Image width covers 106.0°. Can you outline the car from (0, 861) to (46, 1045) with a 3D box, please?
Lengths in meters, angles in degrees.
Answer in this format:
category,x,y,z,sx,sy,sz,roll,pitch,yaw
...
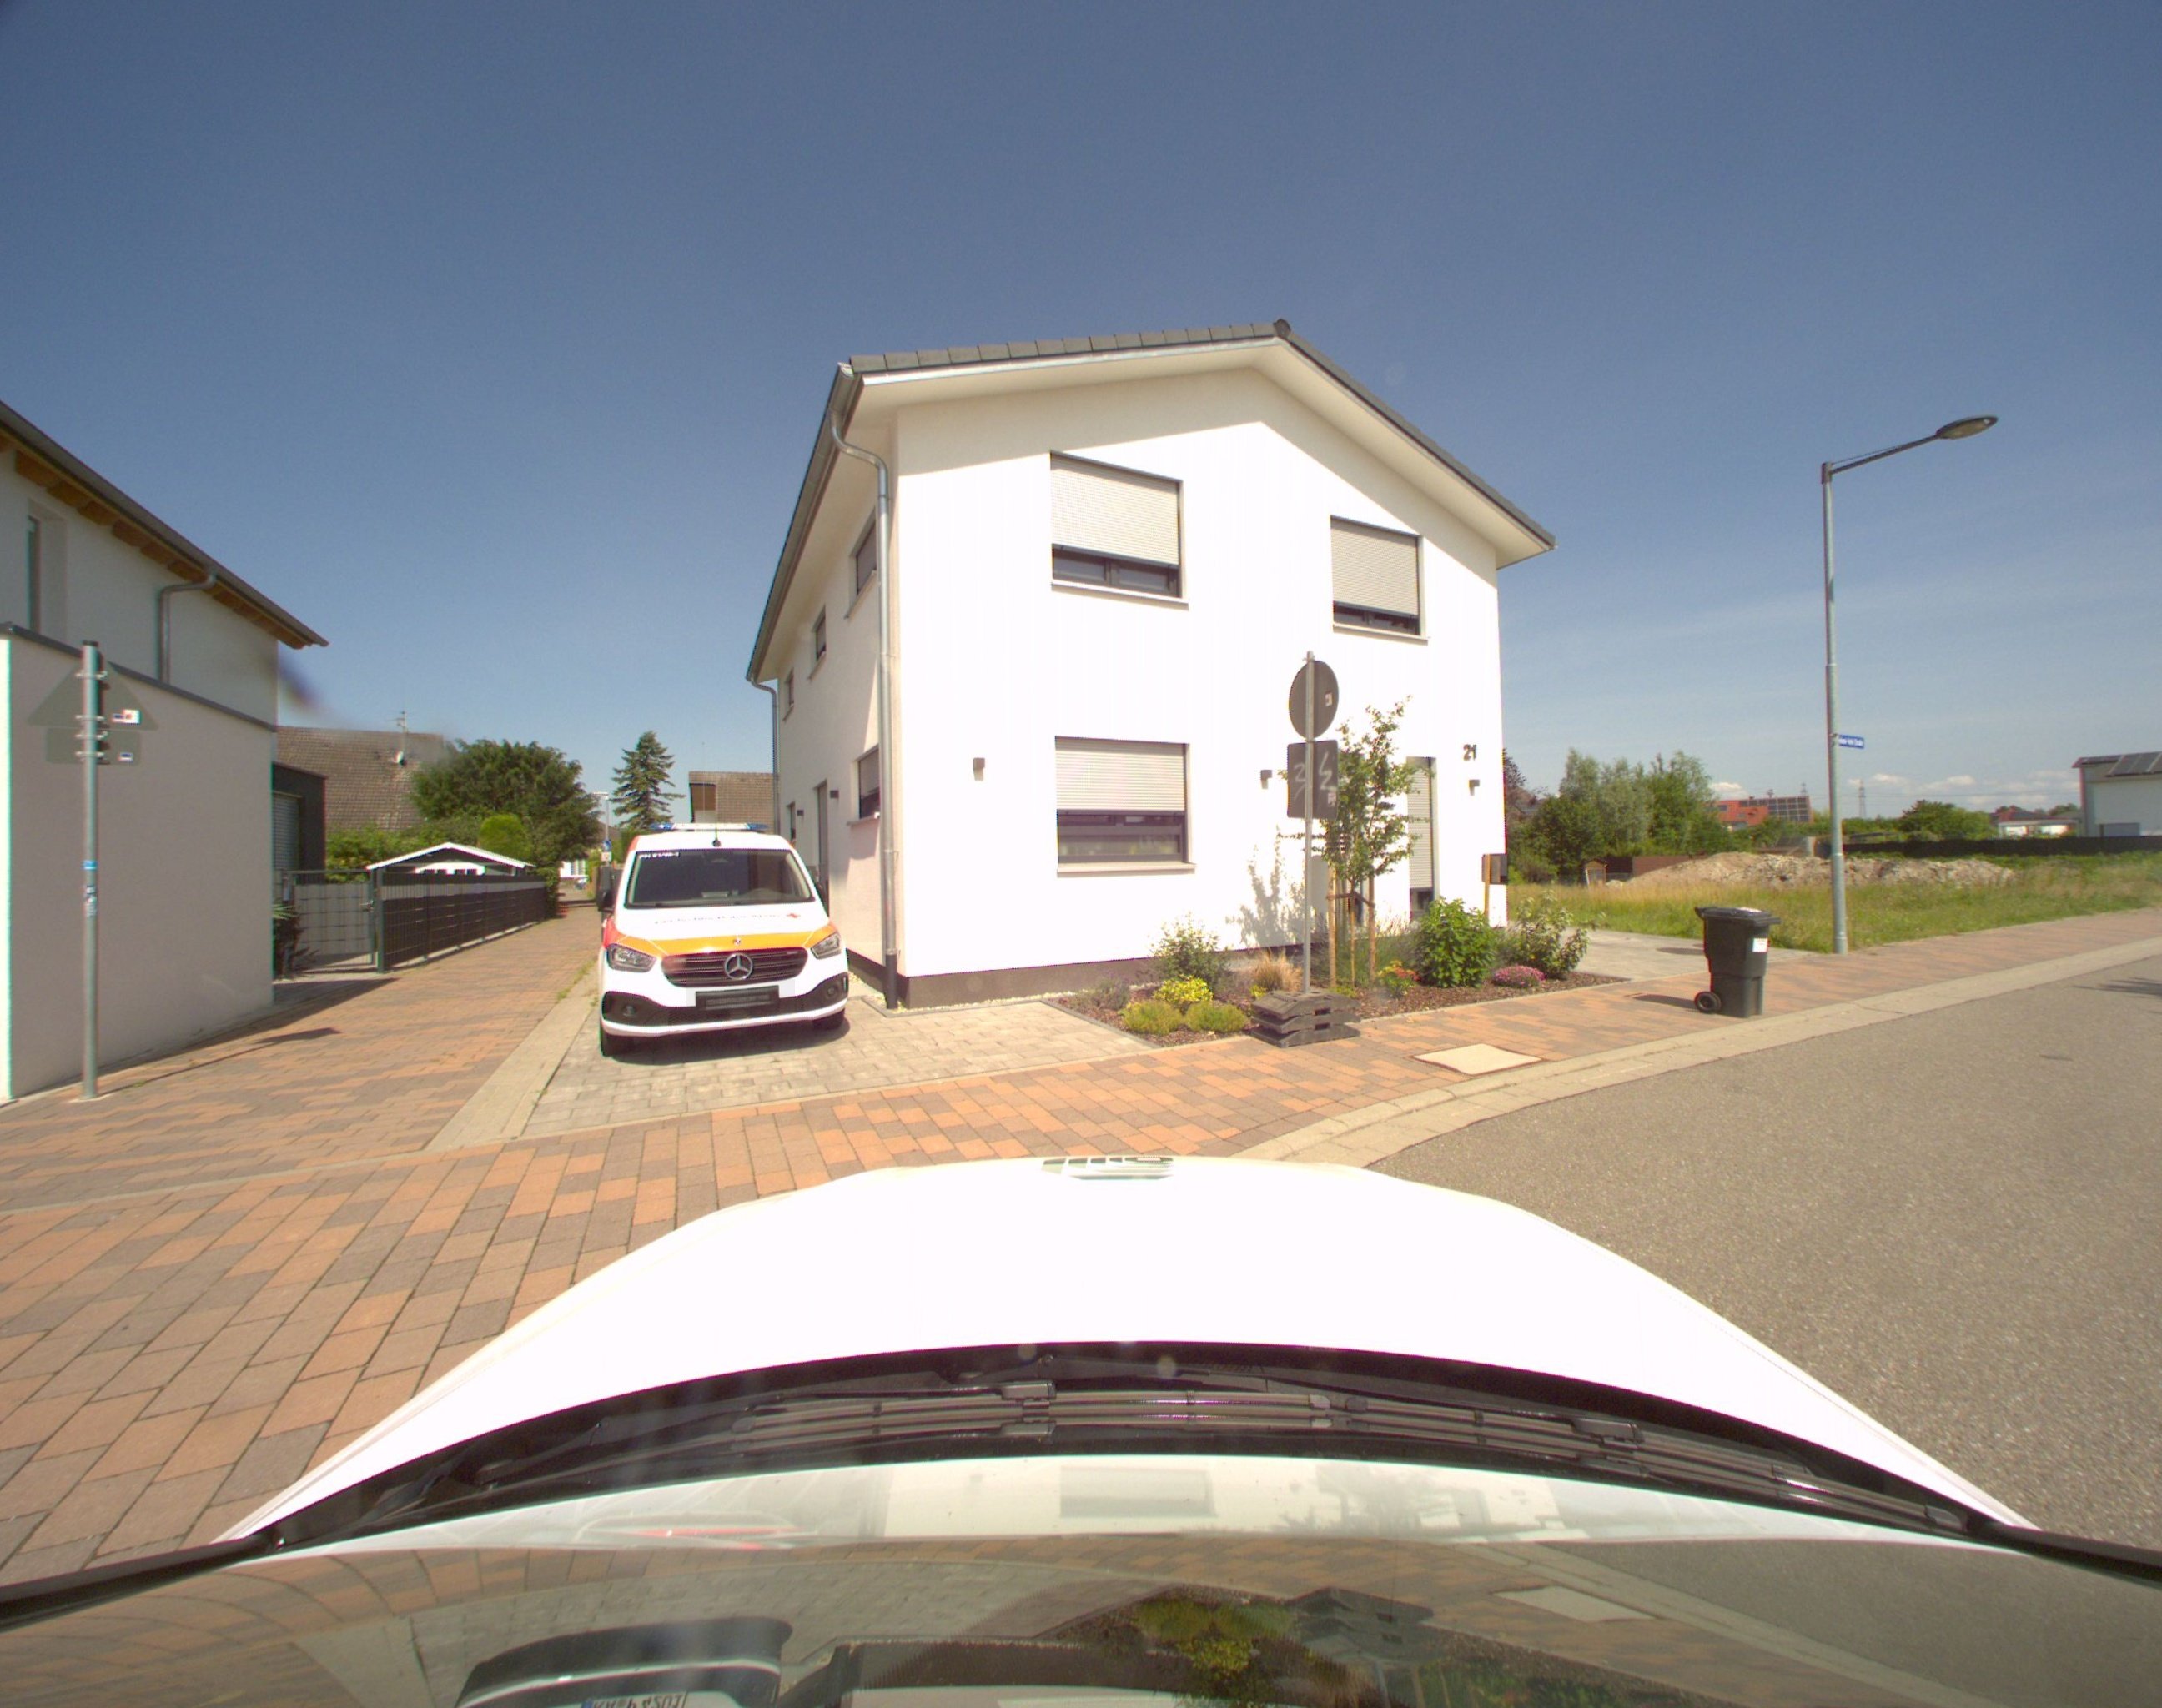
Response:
category,x,y,z,sx,sy,sz,roll,pitch,yaw
car,-9.230,0.814,5.285,1.751,1.562,4.124,-1,-1,-31

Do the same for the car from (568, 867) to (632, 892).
category,x,y,z,sx,sy,sz,roll,pitch,yaw
car,-37.155,1.946,63.073,4.171,1.717,1.888,-1,-1,-29

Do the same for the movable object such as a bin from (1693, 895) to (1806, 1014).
category,x,y,z,sx,sy,sz,roll,pitch,yaw
movable object such as a bin,5.822,0.846,7.104,0.501,0.948,0.619,0,-1,-30

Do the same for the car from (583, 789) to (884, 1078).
category,x,y,z,sx,sy,sz,roll,pitch,yaw
car,-3.491,0.556,7.844,1.943,1.875,4.707,-1,-1,-28
